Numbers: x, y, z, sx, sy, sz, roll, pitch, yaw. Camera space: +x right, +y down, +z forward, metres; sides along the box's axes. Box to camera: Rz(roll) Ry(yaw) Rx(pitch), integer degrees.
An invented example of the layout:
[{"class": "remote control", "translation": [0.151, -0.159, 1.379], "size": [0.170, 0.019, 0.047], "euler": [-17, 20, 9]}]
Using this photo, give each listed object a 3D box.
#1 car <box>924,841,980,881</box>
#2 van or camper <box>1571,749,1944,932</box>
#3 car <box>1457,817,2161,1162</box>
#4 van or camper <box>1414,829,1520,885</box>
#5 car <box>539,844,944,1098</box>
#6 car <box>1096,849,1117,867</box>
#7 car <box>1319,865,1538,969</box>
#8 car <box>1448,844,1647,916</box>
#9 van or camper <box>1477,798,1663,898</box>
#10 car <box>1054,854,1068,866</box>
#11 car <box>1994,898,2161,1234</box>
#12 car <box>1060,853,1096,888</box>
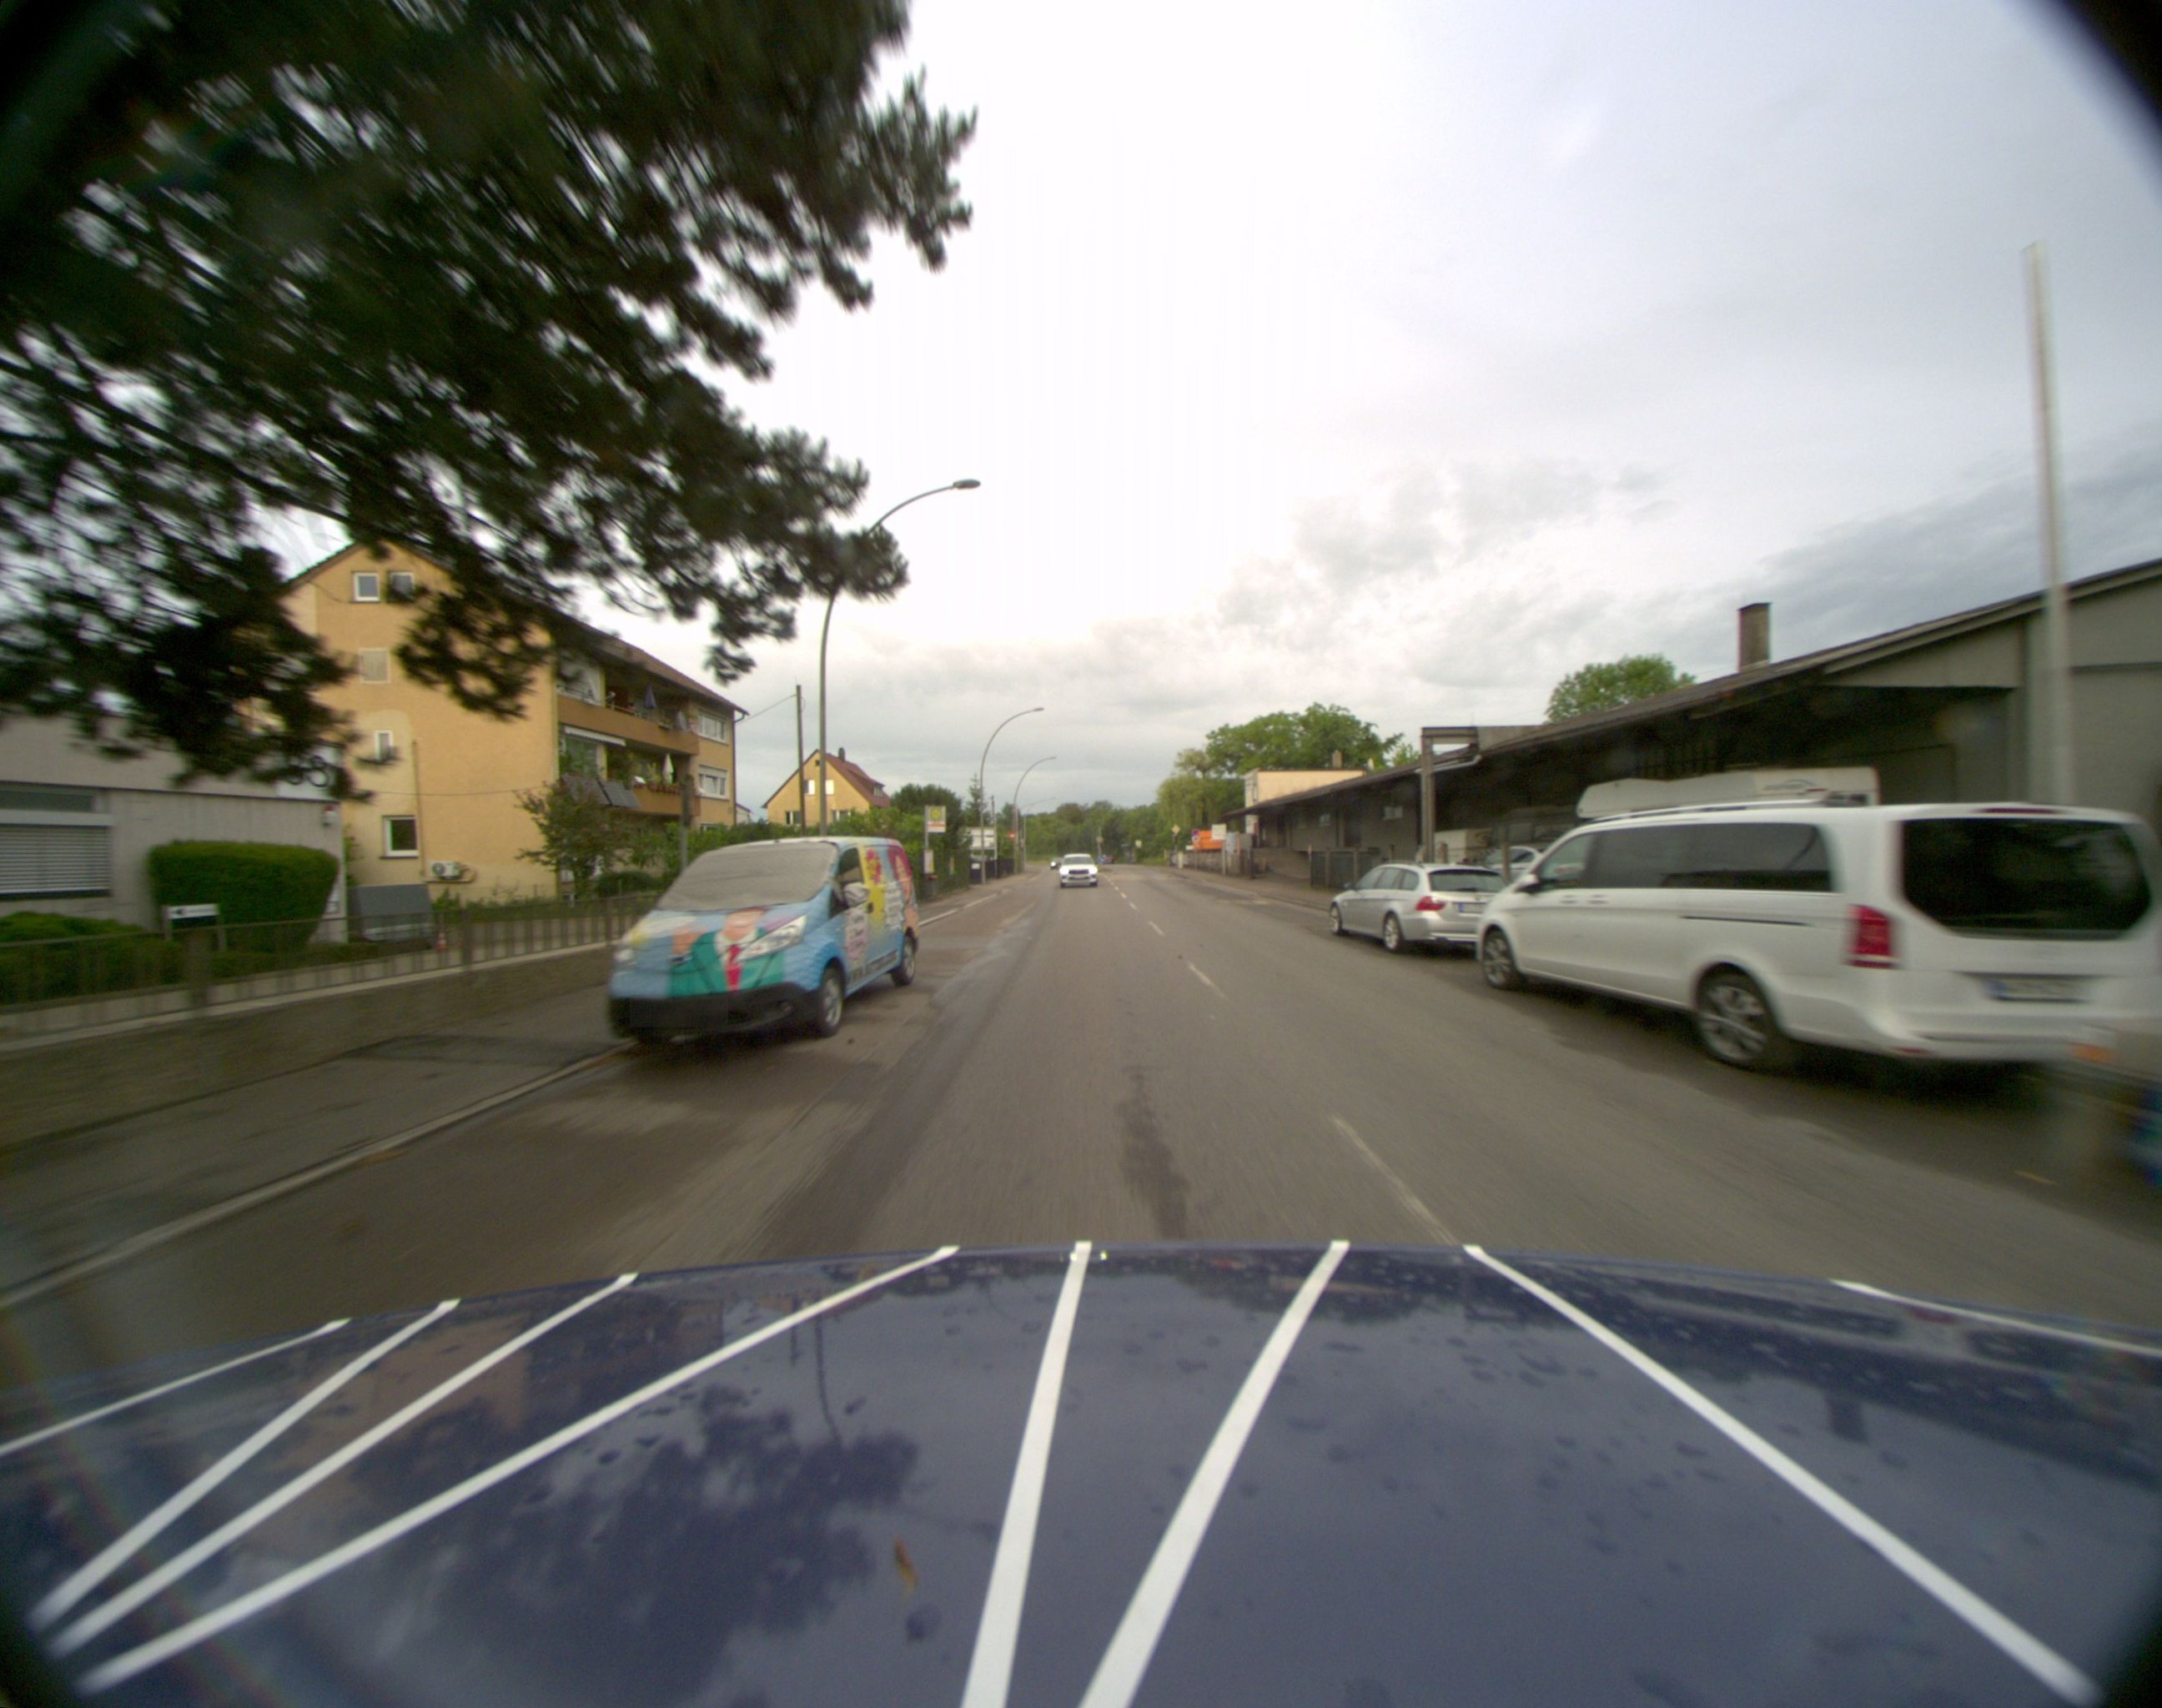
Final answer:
[{"class": "car", "translation": [-8.934, 0.478, 52.936], "size": [3.457, 2.597, 1.949], "euler": [-2, 1, -1]}, {"class": "van or camper", "translation": [13.464, -0.242, 15.961], "size": [2.309, 3.018, 6.150], "euler": [-2, 1, 0]}, {"class": "car", "translation": [5.546, 0.724, 6.754], "size": [1.898, 1.881, 5.210], "euler": [0, 0, 1]}, {"class": "van or camper", "translation": [14.547, 0.084, 28.924], "size": [1.926, 1.924, 4.374], "euler": [-2, 0, 3]}, {"class": "car", "translation": [-3.032, 0.861, 8.437], "size": [1.736, 1.817, 5.553], "euler": [-3, 0, 2]}, {"class": "car", "translation": [2.399, 0.349, 71.179], "size": [1.898, 1.678, 4.231], "euler": [0, 0, 1]}, {"class": "car", "translation": [5.606, 0.918, 13.007], "size": [1.642, 1.357, 4.707], "euler": [0, 0, 1]}, {"class": "car", "translation": [10.981, 0.531, 18.378], "size": [1.833, 1.432, 4.788], "euler": [-2, 0, 0]}, {"class": "van or camper", "translation": [13.885, -0.172, 22.070], "size": [1.998, 2.476, 5.197], "euler": [-2, 1, 0]}, {"class": "car", "translation": [-2.446, 0.690, 92.776], "size": [1.564, 1.332, 3.129], "euler": [-2, 0, -1]}, {"class": "car", "translation": [5.555, 0.953, 1.391], "size": [1.821, 1.419, 4.981], "euler": [0, 0, 1]}, {"class": "car", "translation": [-0.187, 0.791, 39.131], "size": [1.692, 1.651, 3.999], "euler": [-2, 0, -1]}]
